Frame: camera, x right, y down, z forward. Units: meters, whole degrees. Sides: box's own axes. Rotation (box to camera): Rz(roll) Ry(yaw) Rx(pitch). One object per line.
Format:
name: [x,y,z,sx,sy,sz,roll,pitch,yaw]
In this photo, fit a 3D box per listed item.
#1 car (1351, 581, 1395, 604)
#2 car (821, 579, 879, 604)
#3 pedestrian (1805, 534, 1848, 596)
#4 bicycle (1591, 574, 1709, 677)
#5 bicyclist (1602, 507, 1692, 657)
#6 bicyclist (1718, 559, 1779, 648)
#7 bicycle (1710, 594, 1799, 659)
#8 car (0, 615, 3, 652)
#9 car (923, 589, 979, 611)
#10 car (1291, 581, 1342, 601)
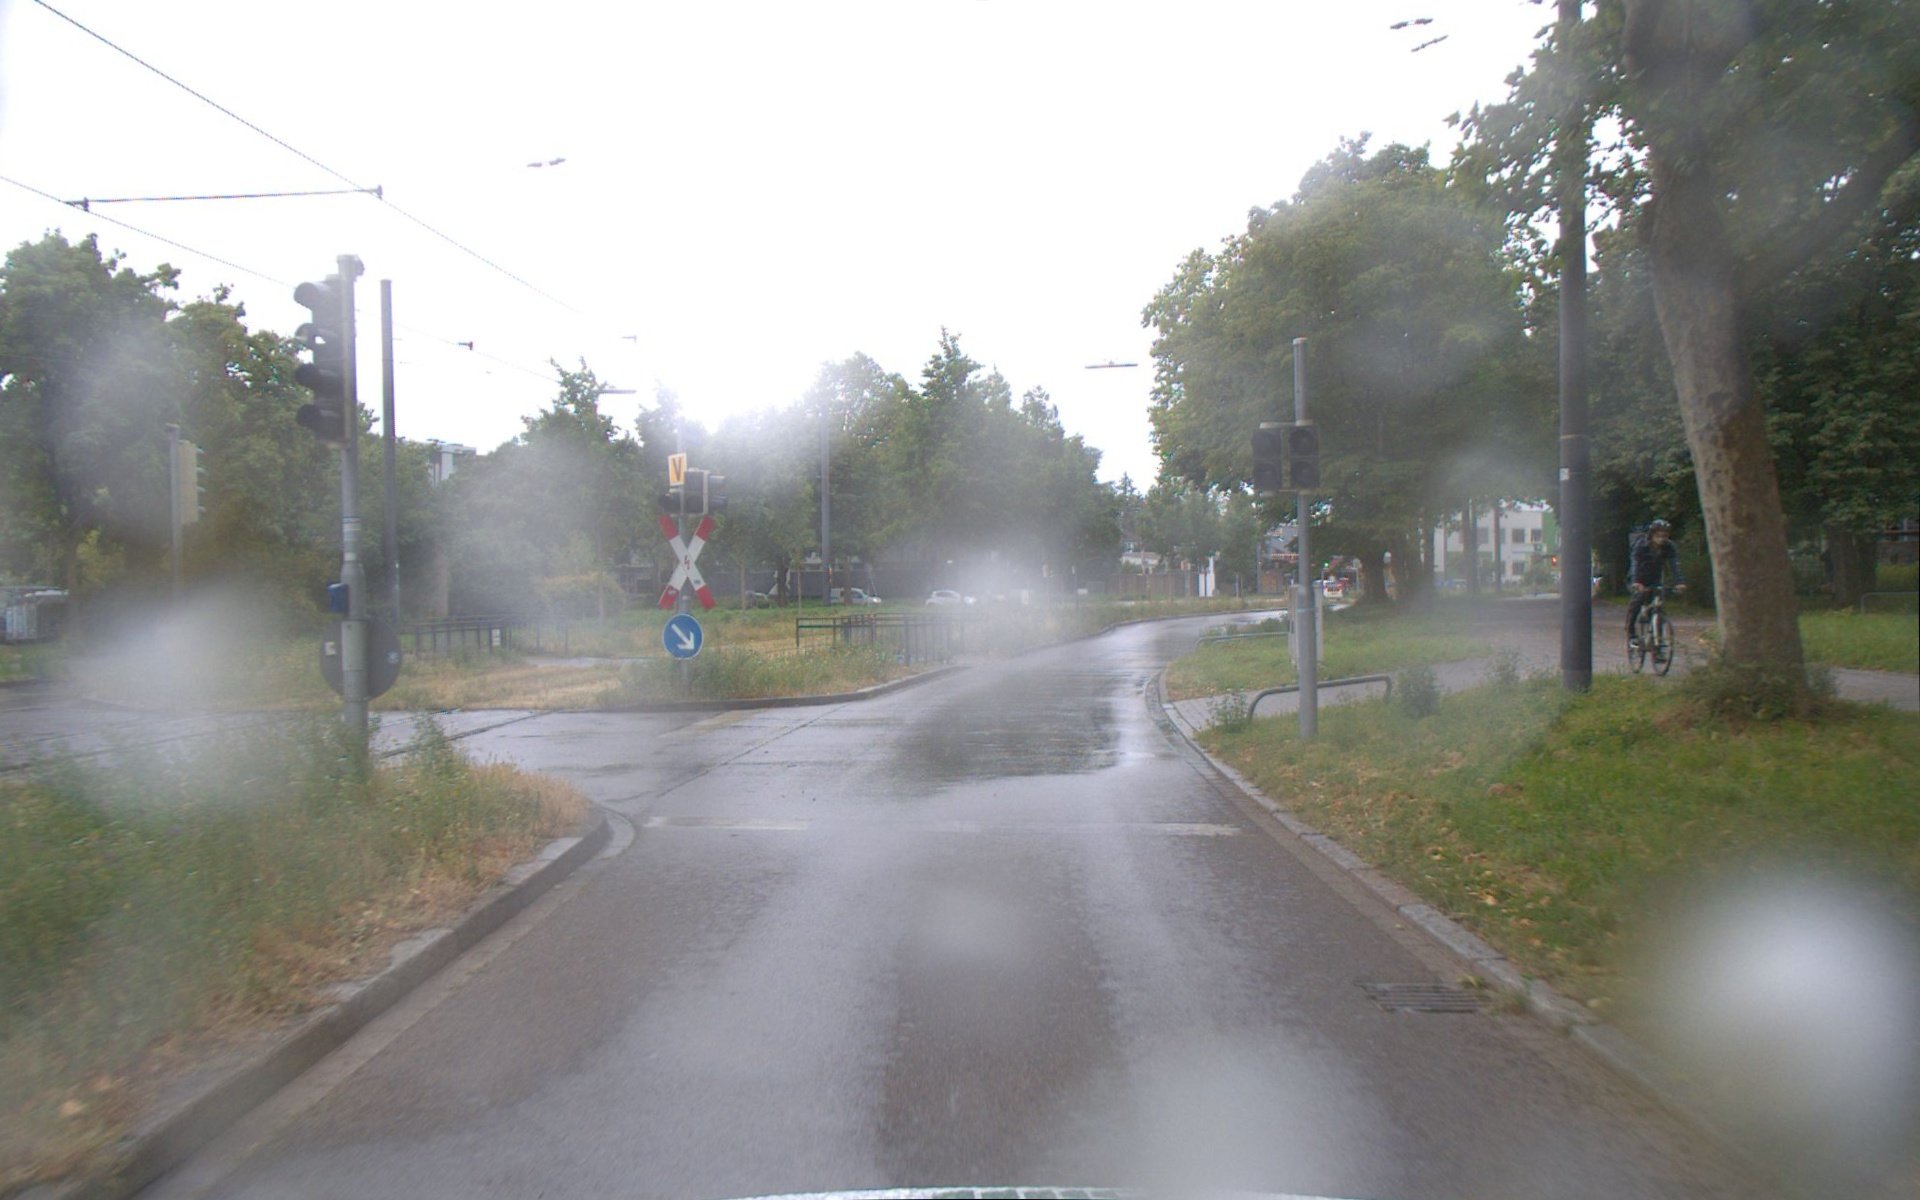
car: [28.191,-0.520,113.016,1.652,1.445,3.810,-2,1,-7]
car: [-8.512,-0.647,128.192,4.120,1.827,1.653,-1,1,15]
pedestrian: [24.534,-0.987,46.825,1.013,1.724,0.853,-1,0,31]
bicycle: [8.326,0.284,20.044,0.696,1.162,1.973,-2,1,4]
bicyclist: [8.300,-0.222,20.009,0.696,1.751,0.958,-2,1,3]
bicyclist: [9.559,0.037,20.064,0.476,1.056,0.592,-1,1,5]
bicycle: [9.548,0.306,19.912,0.476,0.721,1.459,-1,1,6]
car: [-34.672,1.204,57.546,1.652,1.271,3.684,-2,0,-42]
car: [-0.685,-0.020,125.627,3.979,1.525,1.653,-2,0,15]
car: [26.568,-0.645,123.407,1.517,1.445,3.961,-2,1,-29]
